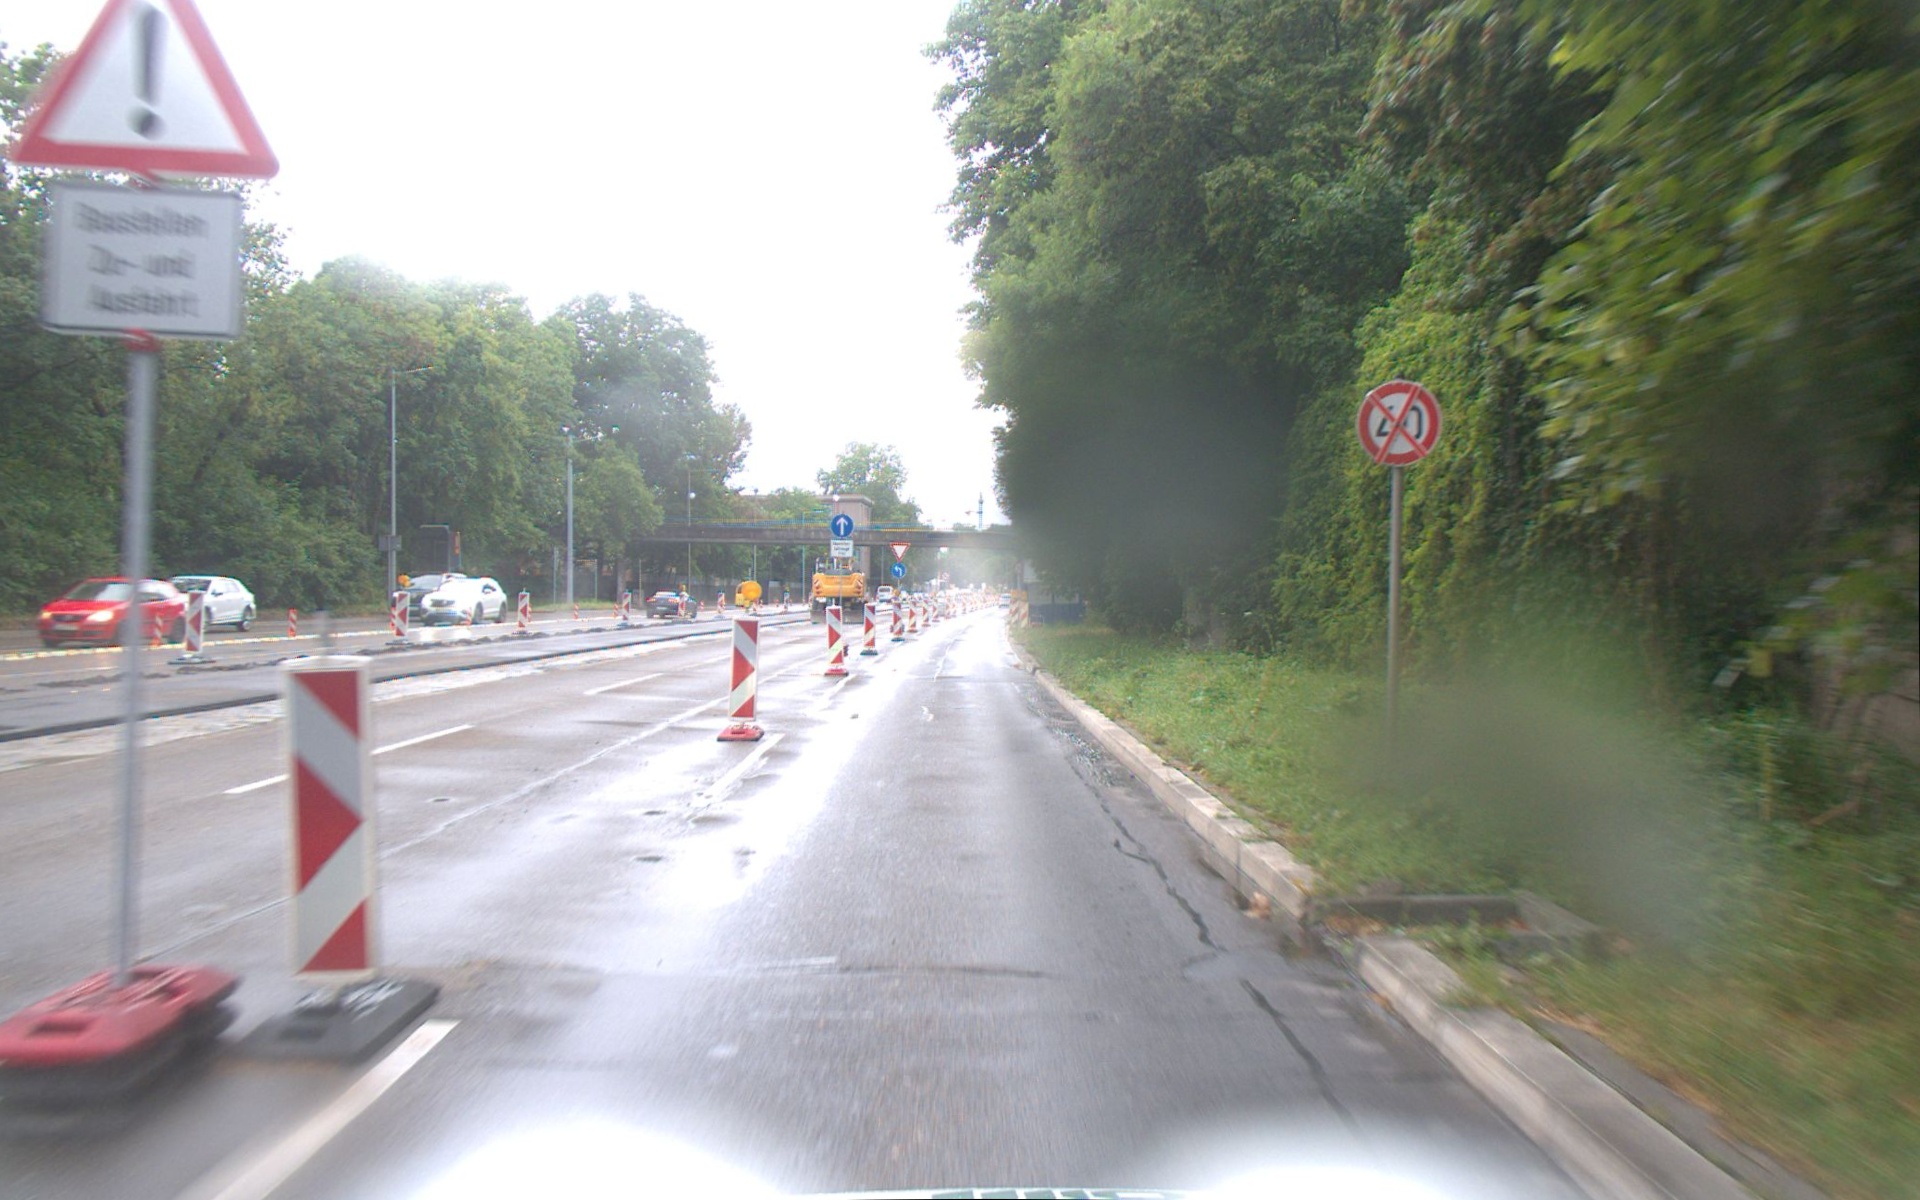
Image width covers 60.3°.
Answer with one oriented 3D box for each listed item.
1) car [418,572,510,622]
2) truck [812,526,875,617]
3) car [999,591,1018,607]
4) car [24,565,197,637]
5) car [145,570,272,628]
[{"bbox_3d":[-17.867,-0.106,59.799,1.851,1.690,4.893,1,0,-1],"label":"car"},{"bbox_3d":[-5.934,-1.441,85.693,2.839,4.333,10.751,1,0,-2],"label":"truck"},{"bbox_3d":[5.259,-0.129,179.351,1.952,1.668,4.001,0,0,2],"label":"car"},{"bbox_3d":[-18.135,0.008,35.506,1.645,1.425,4.012,1,0,0],"label":"car"},{"bbox_3d":[-20.790,-0.036,45.942,1.645,1.522,4.148,0,0,0],"label":"car"}]
